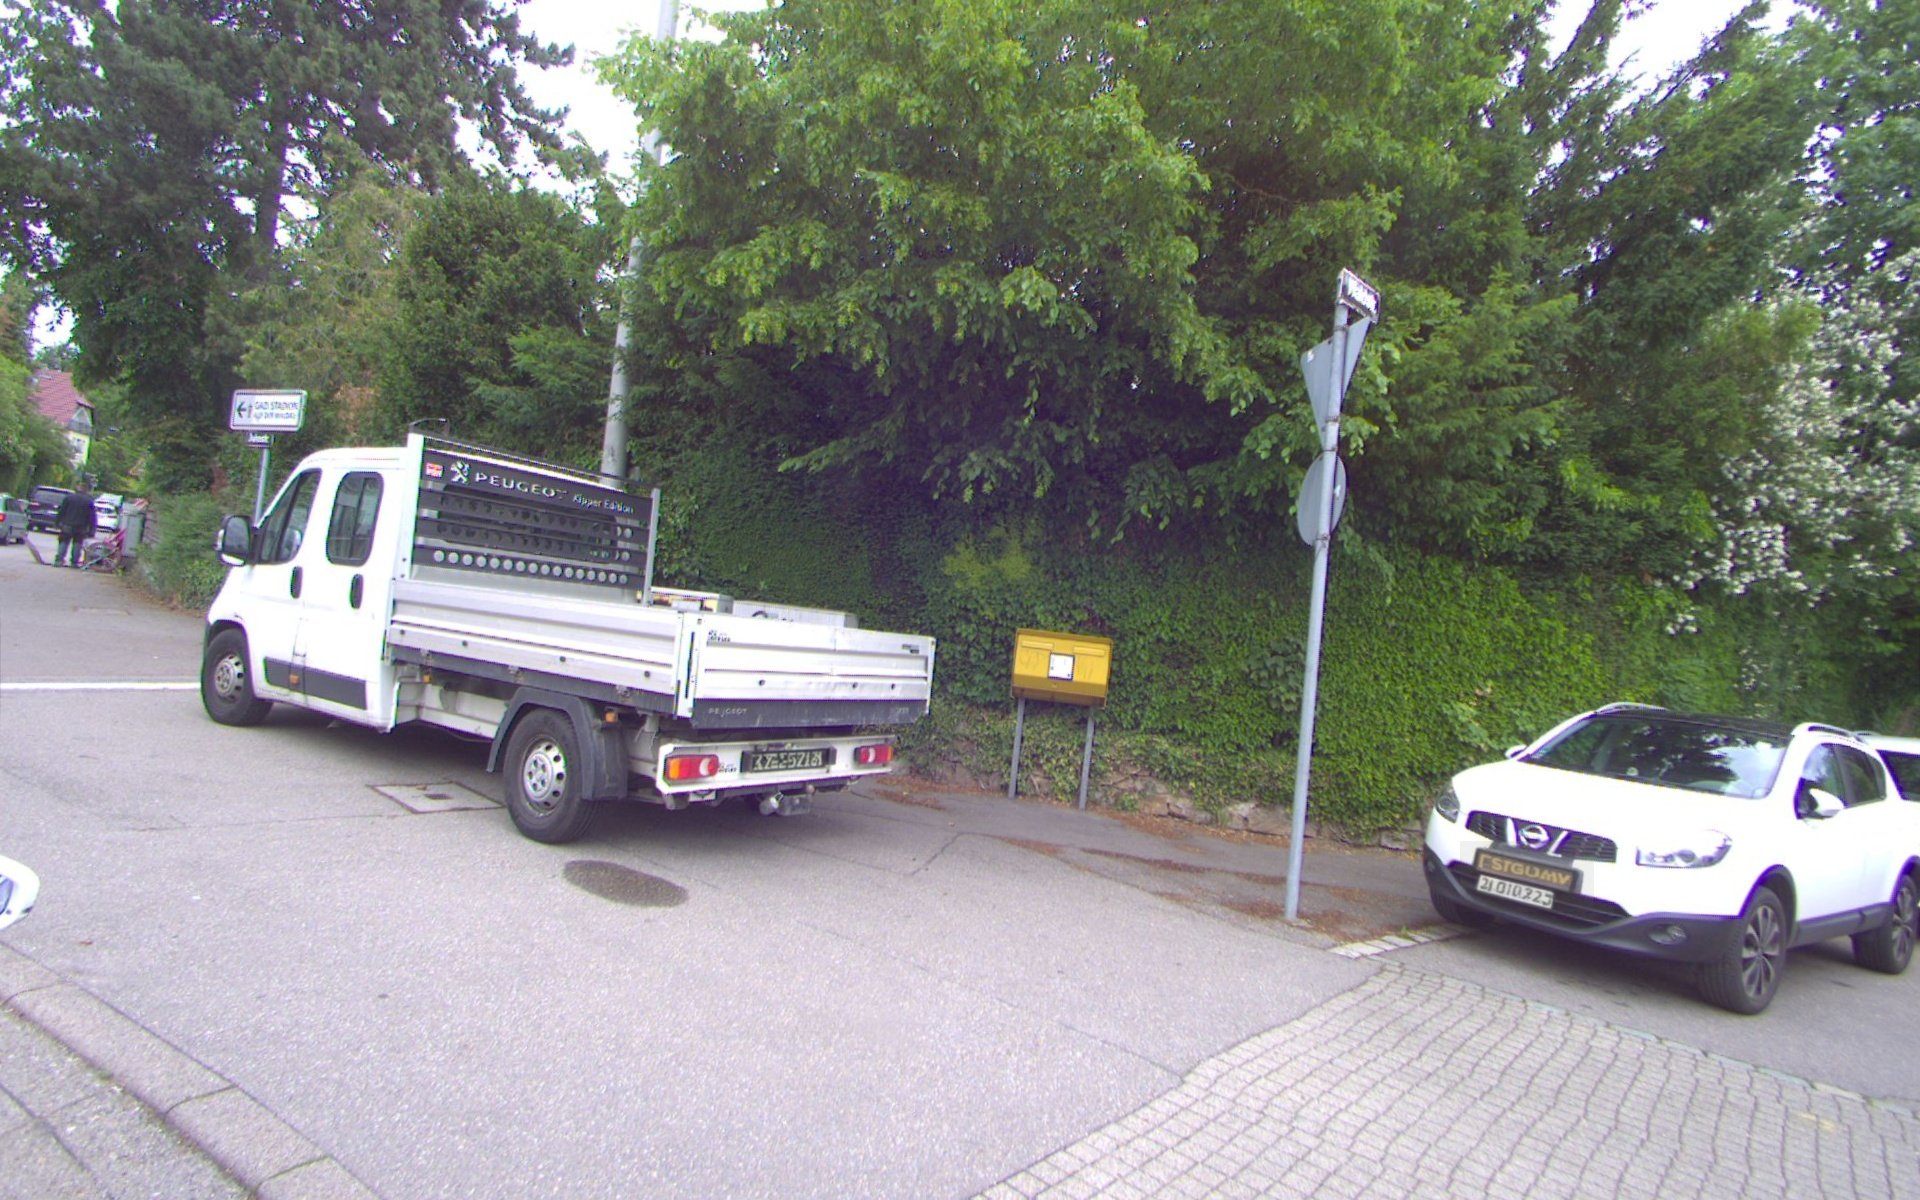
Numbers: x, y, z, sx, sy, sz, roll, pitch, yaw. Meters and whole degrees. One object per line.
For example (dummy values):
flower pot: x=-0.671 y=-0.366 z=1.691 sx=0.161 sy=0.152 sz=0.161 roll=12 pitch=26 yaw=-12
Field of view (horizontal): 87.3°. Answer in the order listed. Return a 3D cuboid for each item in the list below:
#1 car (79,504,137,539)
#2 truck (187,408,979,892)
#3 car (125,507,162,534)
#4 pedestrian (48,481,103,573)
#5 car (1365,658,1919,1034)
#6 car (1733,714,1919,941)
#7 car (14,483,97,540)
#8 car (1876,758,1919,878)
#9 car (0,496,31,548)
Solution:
car: x=-46.695 y=-4.282 z=55.191 sx=1.832 sy=1.476 sz=4.040 roll=10 pitch=-2 yaw=-34
truck: x=-2.934 y=0.085 z=7.171 sx=5.631 sy=2.270 sz=2.211 roll=6 pitch=-2 yaw=34
car: x=-67.586 y=-6.573 z=83.325 sx=1.930 sy=1.846 sz=4.039 roll=10 pitch=-2 yaw=-35
pedestrian: x=-19.506 y=-1.607 z=22.179 sx=0.549 sy=1.929 sz=0.597 roll=7 pitch=-1 yaw=32
car: x=4.766 y=1.471 z=6.668 sx=4.098 sy=1.641 sz=1.783 roll=9 pitch=-2 yaw=-34
car: x=9.045 y=2.118 z=9.481 sx=4.041 sy=1.641 sz=1.781 roll=9 pitch=-3 yaw=-38
car: x=-38.269 y=-3.716 z=42.673 sx=1.910 sy=1.915 sz=4.859 roll=10 pitch=-2 yaw=-36
car: x=13.917 y=3.012 z=13.447 sx=4.040 sy=1.440 sz=1.781 roll=8 pitch=-2 yaw=-38
car: x=-28.875 y=-2.407 z=29.674 sx=1.685 sy=1.448 sz=3.710 roll=7 pitch=0 yaw=-37
